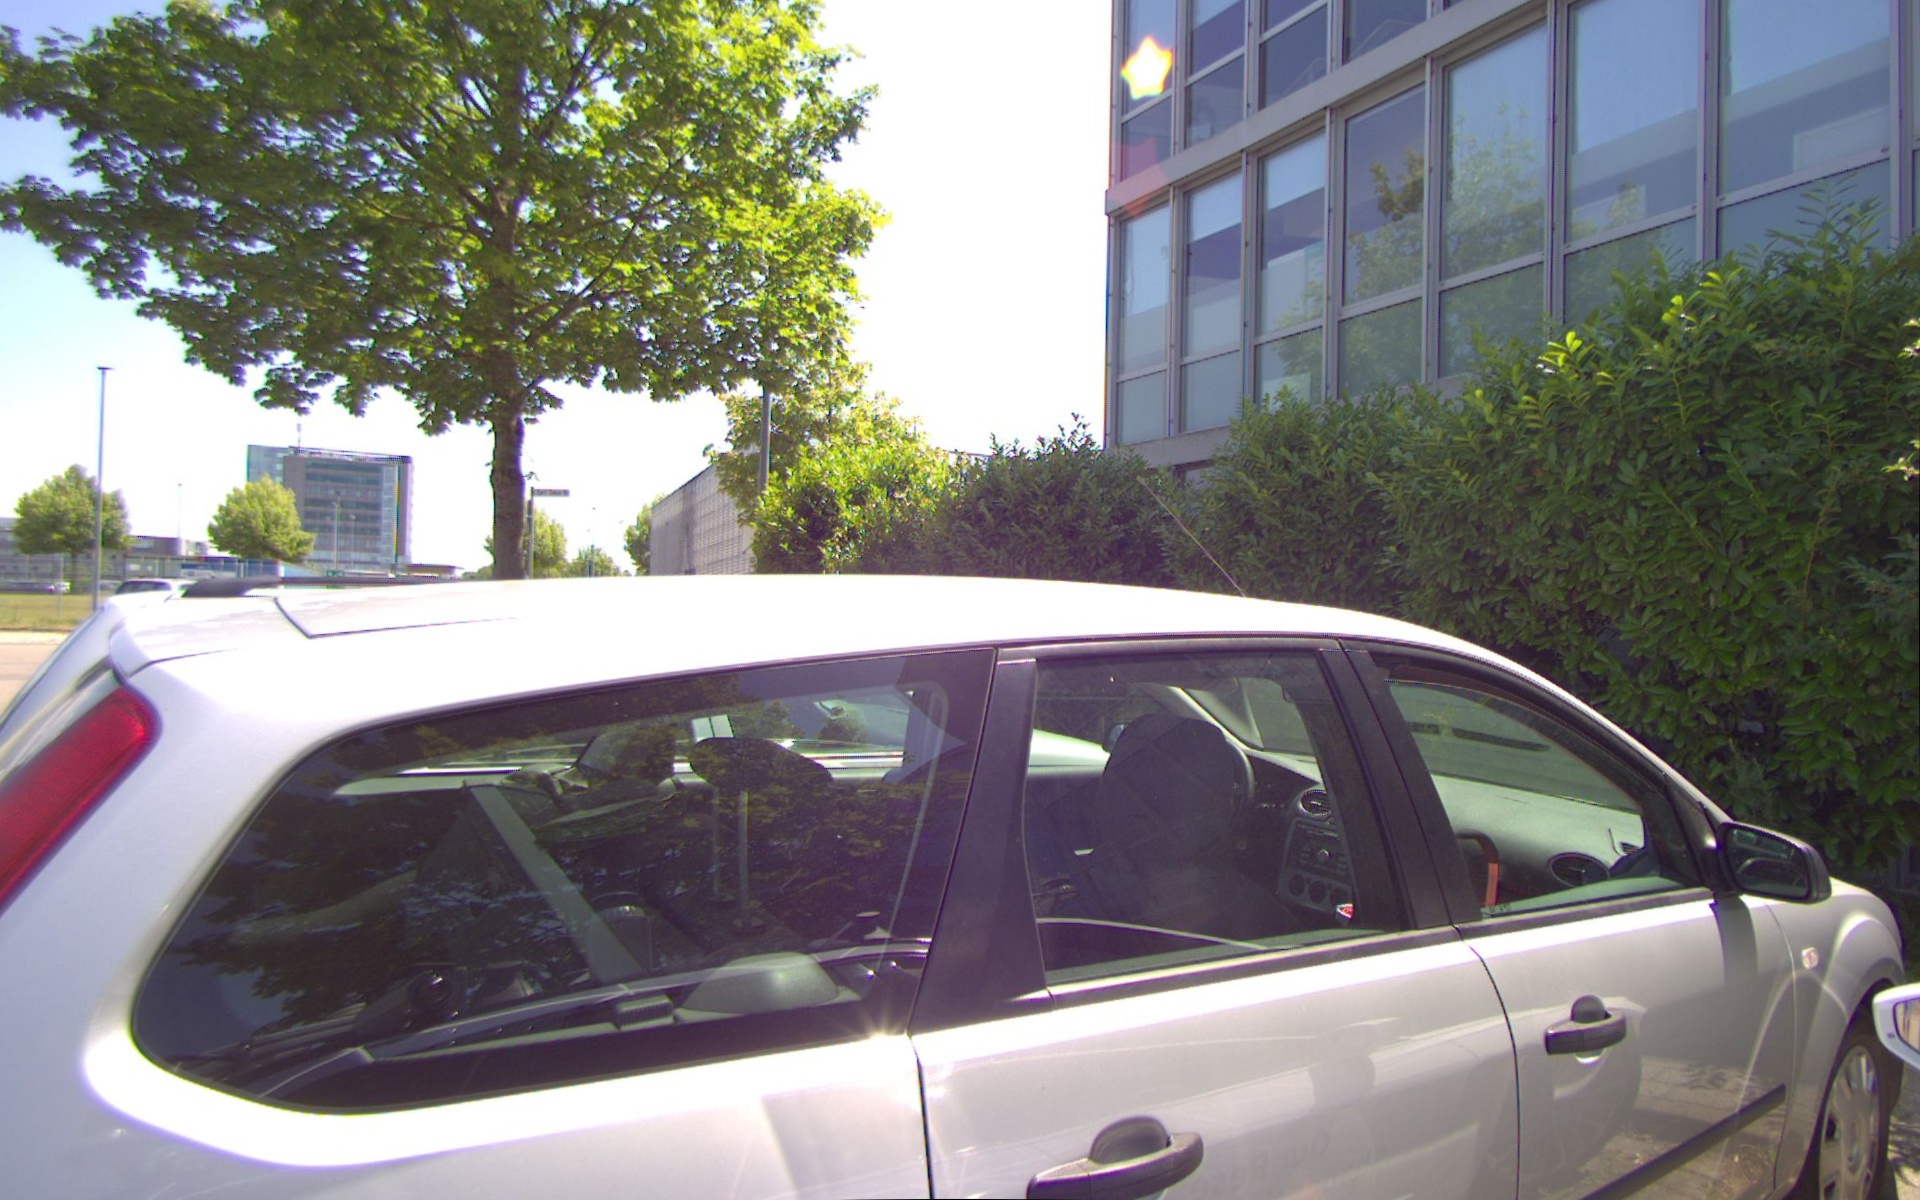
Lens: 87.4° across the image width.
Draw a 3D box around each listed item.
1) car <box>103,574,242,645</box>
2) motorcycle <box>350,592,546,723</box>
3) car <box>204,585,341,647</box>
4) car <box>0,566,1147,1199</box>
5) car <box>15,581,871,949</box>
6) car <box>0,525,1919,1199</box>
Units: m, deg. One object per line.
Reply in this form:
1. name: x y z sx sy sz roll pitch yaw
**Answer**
1. car: -21.155 0.242 27.161 1.745 1.761 3.982 1 0 -20
2. motorcycle: -5.862 0.629 11.566 1.969 1.408 0.480 1 0 -34
3. car: -18.734 0.413 27.577 1.624 1.542 3.991 1 0 -11
4. car: -1.292 0.702 3.711 3.851 1.499 1.637 1 0 -34
5. car: -2.599 0.693 5.767 3.851 1.468 1.637 1 0 -34
6. car: 0.358 0.736 2.094 4.299 1.499 1.710 1 0 -31
